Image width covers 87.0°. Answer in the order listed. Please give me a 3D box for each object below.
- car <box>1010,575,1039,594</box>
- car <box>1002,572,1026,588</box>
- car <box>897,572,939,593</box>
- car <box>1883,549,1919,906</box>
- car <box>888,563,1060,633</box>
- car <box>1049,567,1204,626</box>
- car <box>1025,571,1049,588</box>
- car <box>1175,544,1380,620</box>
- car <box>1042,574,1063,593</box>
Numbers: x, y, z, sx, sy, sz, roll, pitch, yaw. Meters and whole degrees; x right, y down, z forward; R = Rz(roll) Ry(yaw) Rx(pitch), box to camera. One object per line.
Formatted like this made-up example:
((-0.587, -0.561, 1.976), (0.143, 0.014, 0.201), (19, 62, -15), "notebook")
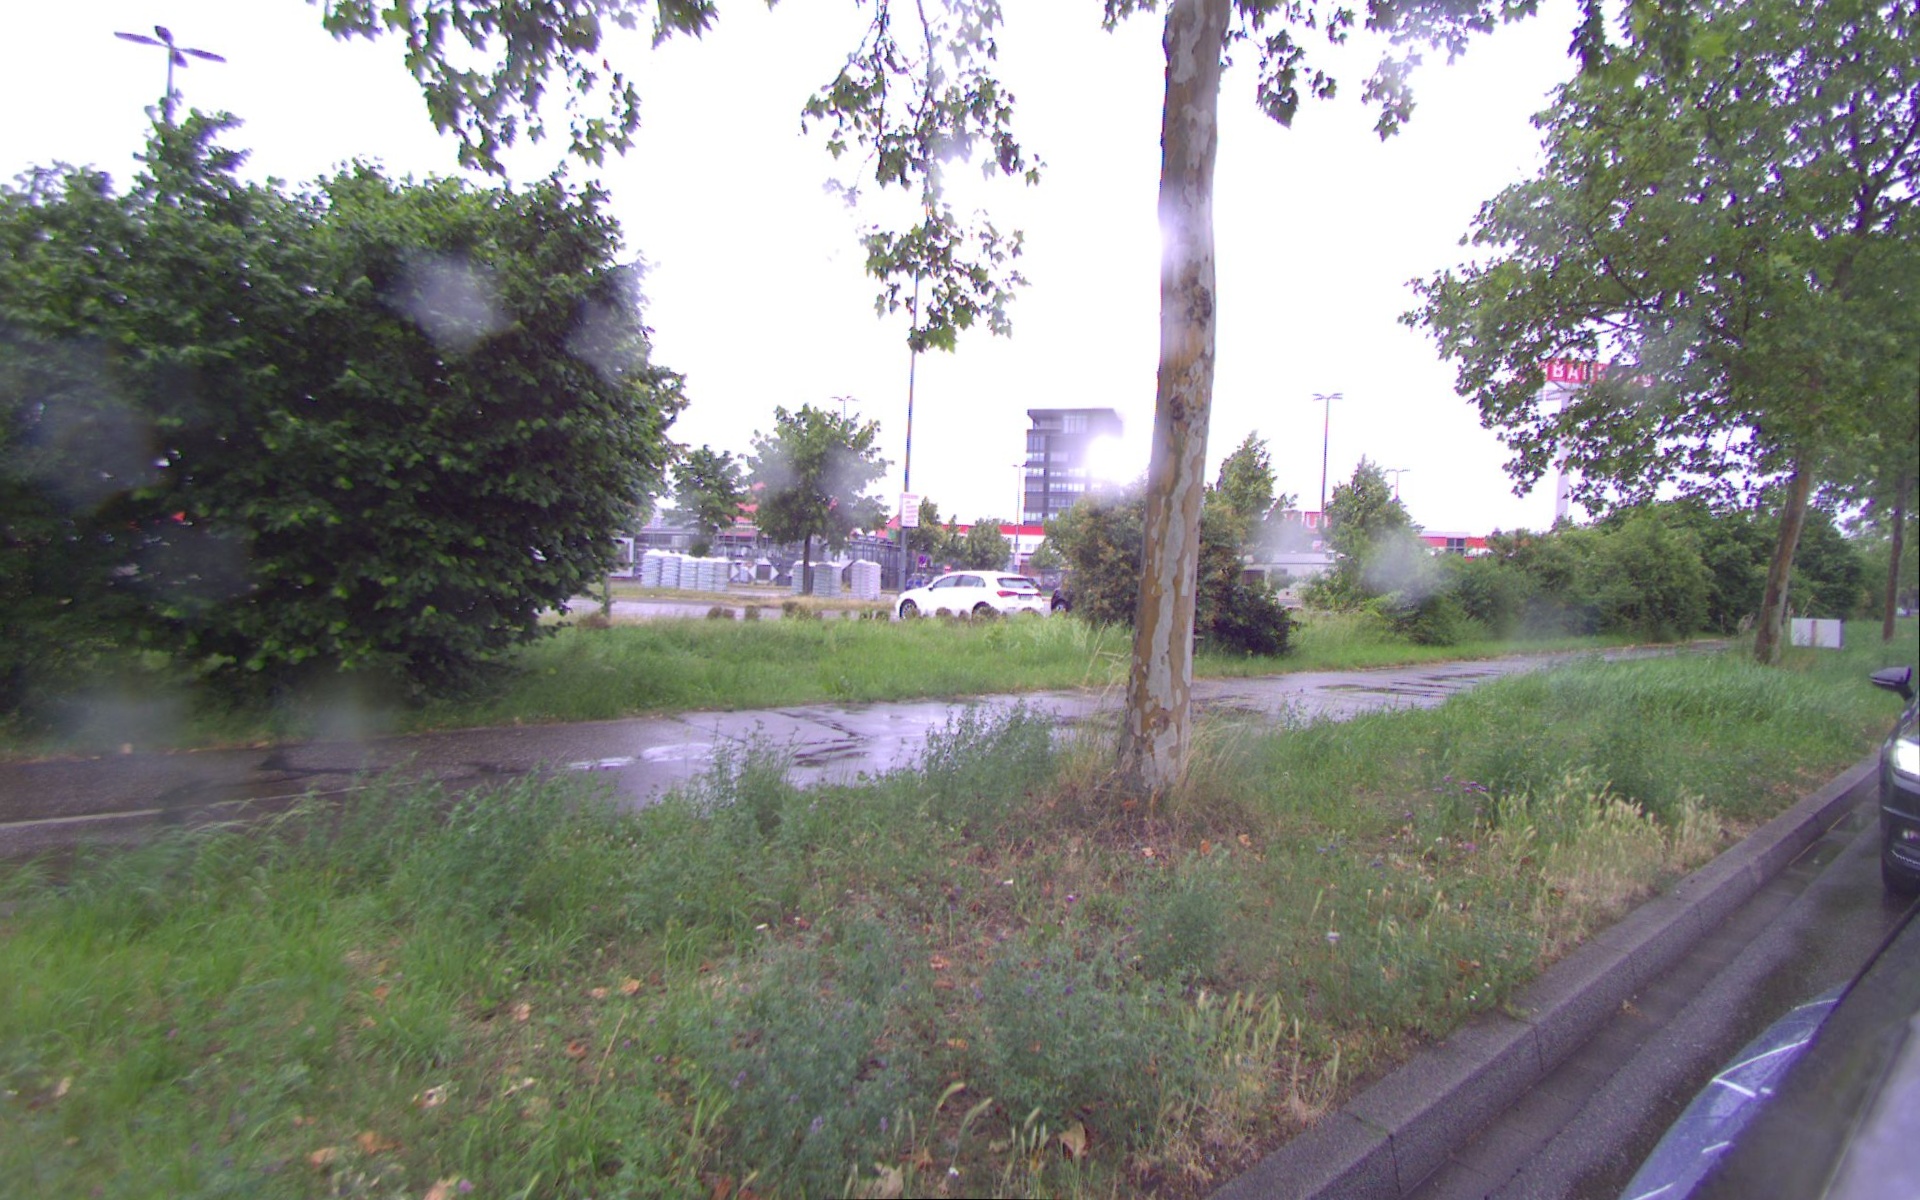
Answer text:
((6.034, -1.450, 94.713), (1.973, 1.697, 4.255), (2, 2, 14), "car")
((6.009, -2.279, 112.489), (1.973, 1.697, 4.257), (2, 2, 13), "car")
((-3.250, -1.403, 79.178), (1.905, 1.571, 4.249), (2, 2, 18), "car")
((6.555, 0.578, 5.605), (4.548, 1.625, 1.768), (0, 0, -43), "car")
((0.285, -0.110, 25.930), (1.899, 1.571, 4.262), (0, 3, -45), "car")
((4.927, -0.152, 30.285), (1.899, 1.571, 4.262), (0, 3, -45), "car")
((8.504, -2.287, 111.888), (1.973, 1.697, 4.257), (2, 2, 13), "car")
((10.952, -0.704, 35.273), (6.399, 2.392, 2.357), (3, 2, 41), "car")
((9.101, -1.654, 99.917), (1.967, 1.697, 4.270), (2, 2, 4), "car")
